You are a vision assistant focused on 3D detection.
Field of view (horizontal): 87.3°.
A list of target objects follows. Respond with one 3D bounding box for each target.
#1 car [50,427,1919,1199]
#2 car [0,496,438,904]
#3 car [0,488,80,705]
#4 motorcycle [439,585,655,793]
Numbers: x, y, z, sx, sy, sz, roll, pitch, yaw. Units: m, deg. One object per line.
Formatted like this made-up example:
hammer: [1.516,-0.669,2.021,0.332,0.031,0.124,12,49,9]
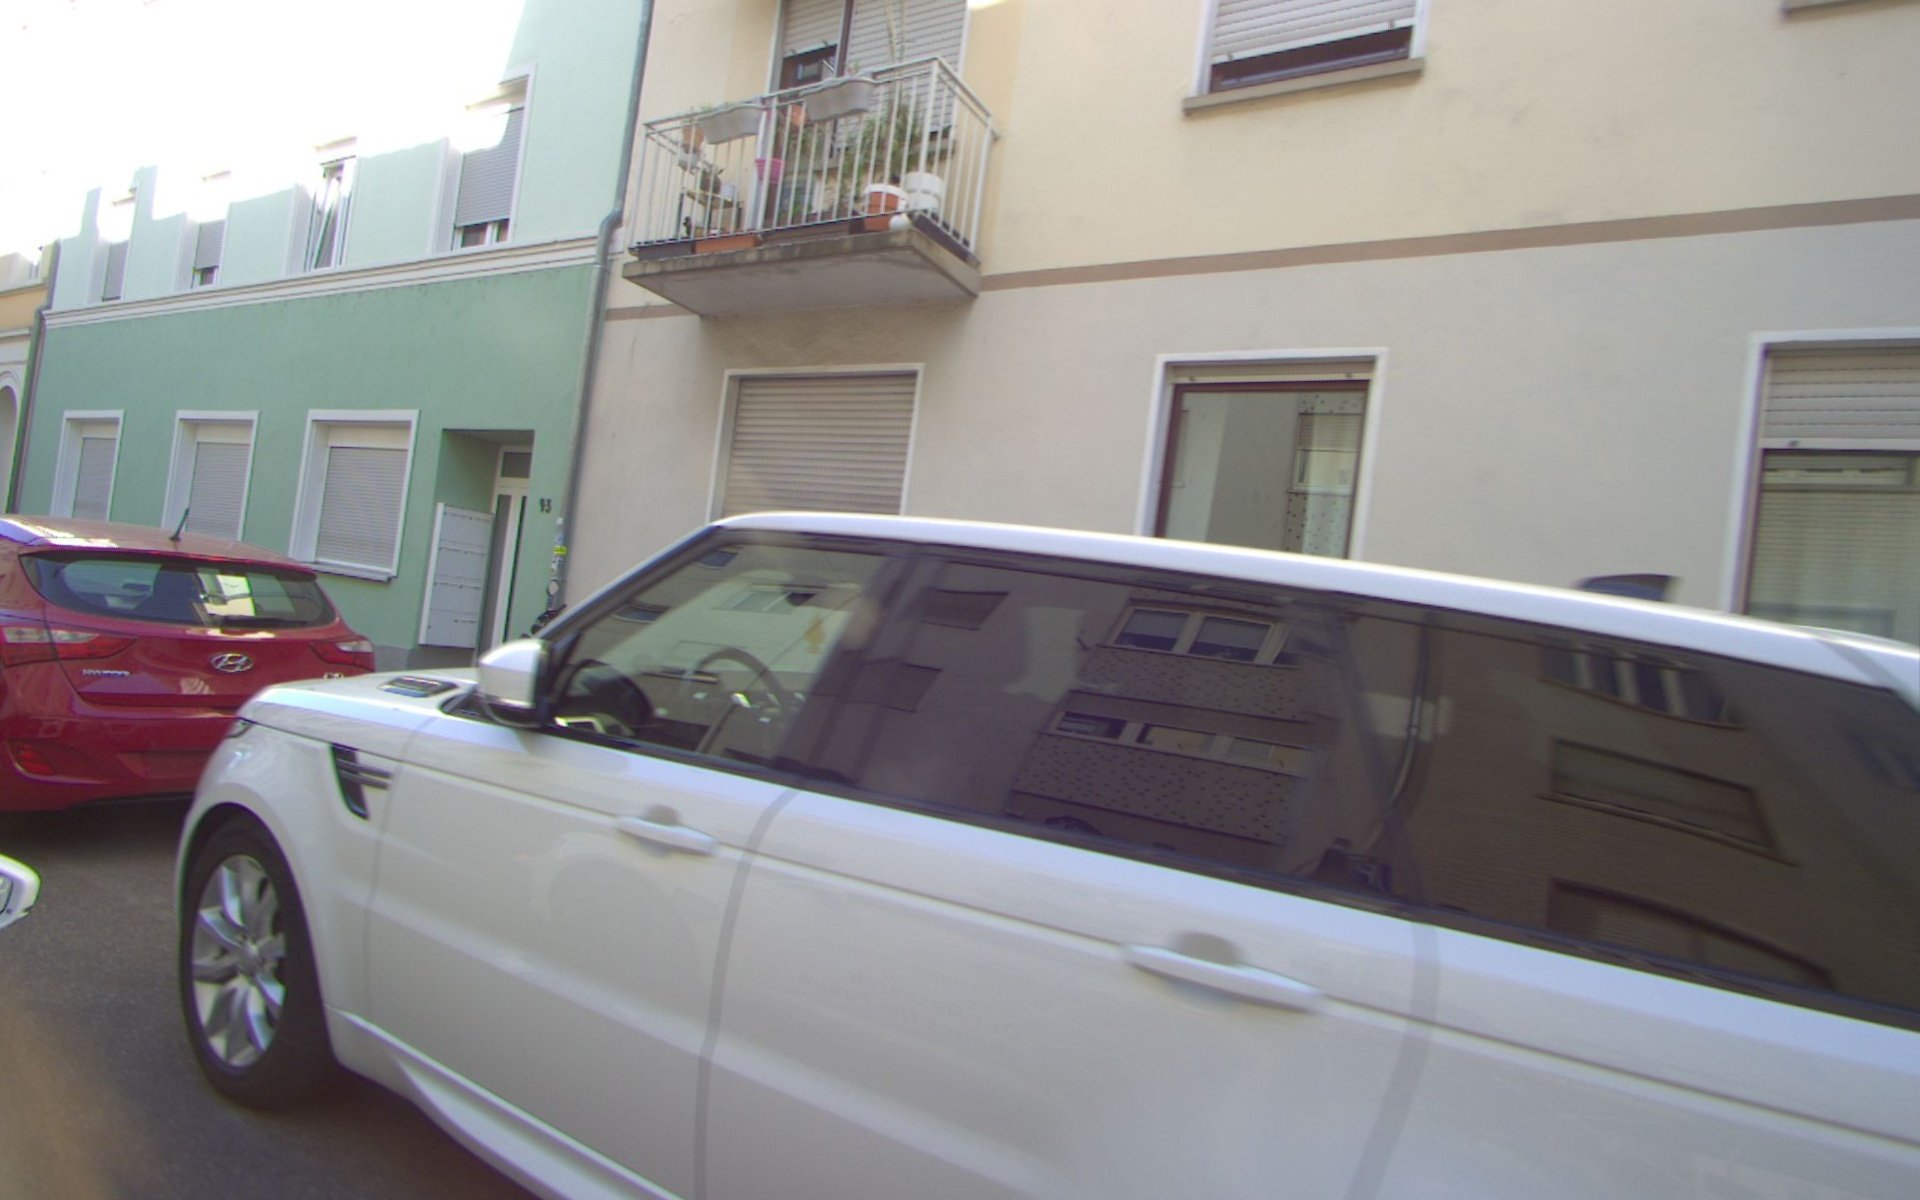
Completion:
car: [-0.172,0.700,2.725,4.856,1.805,2.009,7,-1,32]
car: [-5.001,0.276,5.661,3.965,1.587,1.745,7,-1,32]
car: [-9.121,-0.254,8.267,3.619,1.650,1.585,7,-2,29]
motorcycle: [-3.101,0.619,7.519,1.478,1.295,0.657,7,1,32]
